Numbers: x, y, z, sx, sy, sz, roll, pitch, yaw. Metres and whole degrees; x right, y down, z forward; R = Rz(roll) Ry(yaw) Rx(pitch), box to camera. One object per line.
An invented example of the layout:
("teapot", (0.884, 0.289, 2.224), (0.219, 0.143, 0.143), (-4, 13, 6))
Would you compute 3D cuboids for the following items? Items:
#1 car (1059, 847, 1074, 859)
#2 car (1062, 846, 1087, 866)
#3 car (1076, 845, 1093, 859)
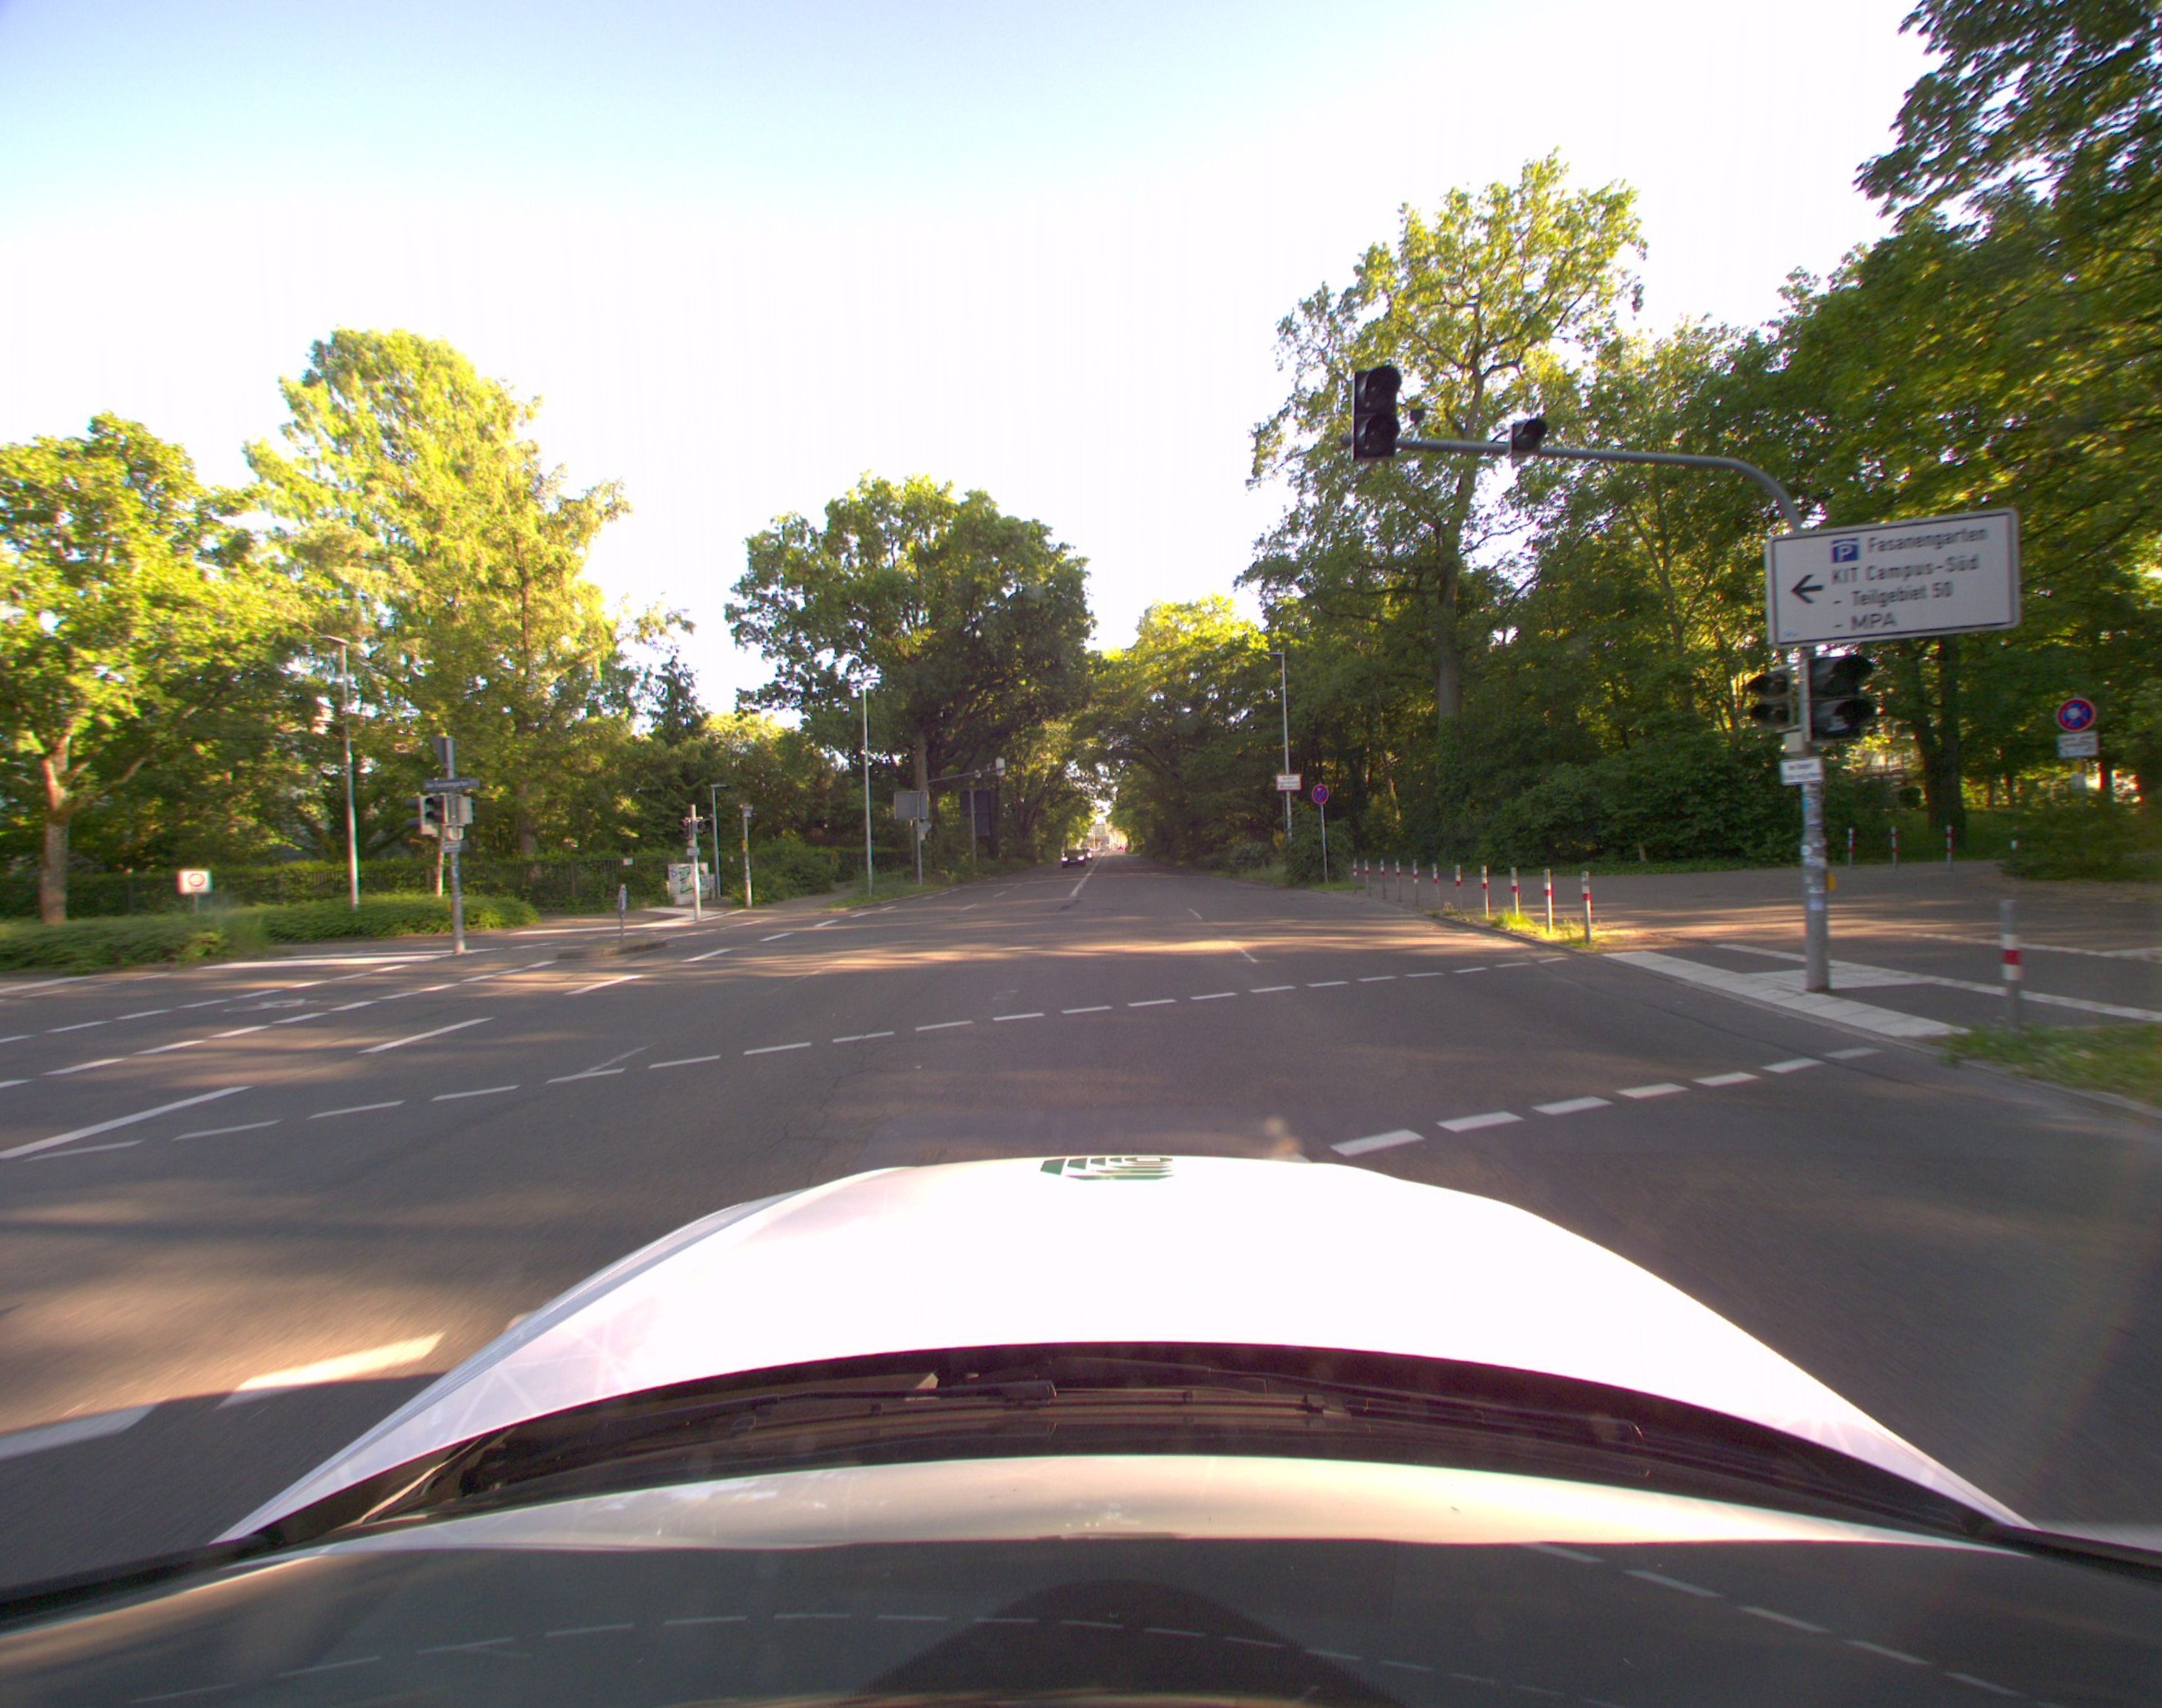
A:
("car", (-1.982, -0.191, 112.318), (1.791, 1.506, 4.365), (-3, 0, 1))
("car", (-0.527, 0.143, 68.971), (1.881, 1.506, 4.365), (-3, 0, 1))
("car", (0.450, -0.221, 92.923), (1.791, 1.506, 4.365), (-3, 0, 1))
